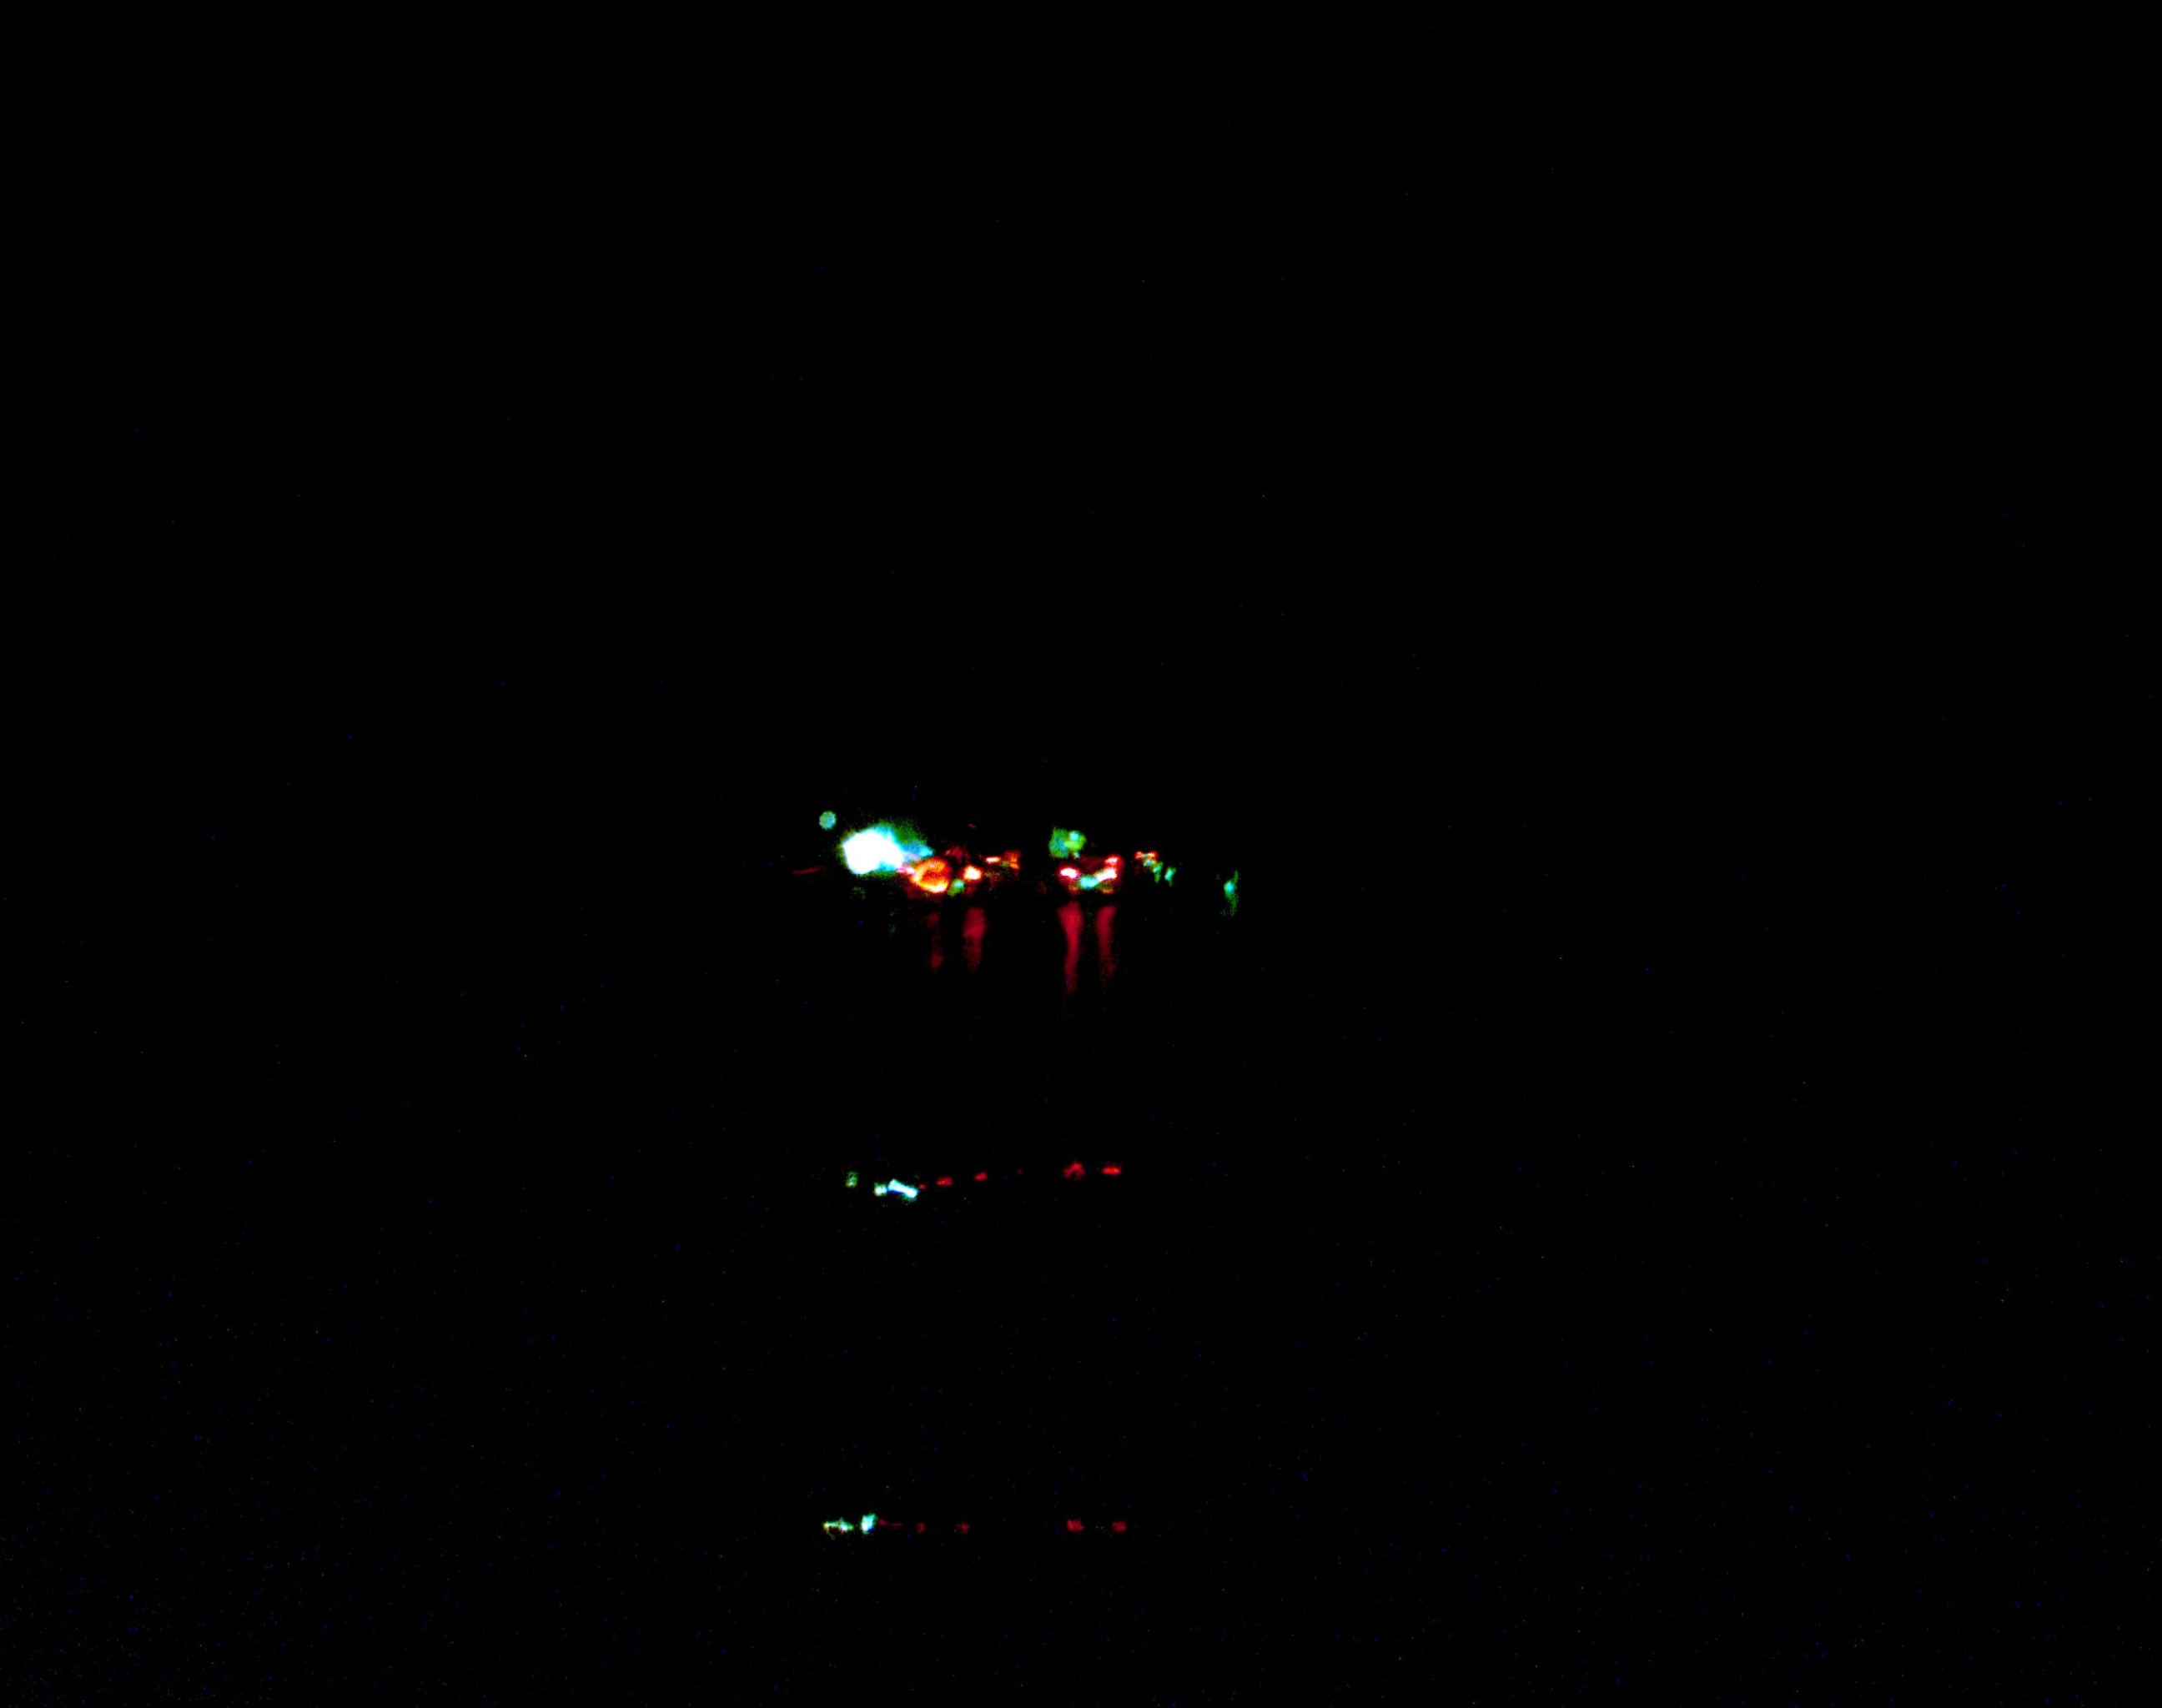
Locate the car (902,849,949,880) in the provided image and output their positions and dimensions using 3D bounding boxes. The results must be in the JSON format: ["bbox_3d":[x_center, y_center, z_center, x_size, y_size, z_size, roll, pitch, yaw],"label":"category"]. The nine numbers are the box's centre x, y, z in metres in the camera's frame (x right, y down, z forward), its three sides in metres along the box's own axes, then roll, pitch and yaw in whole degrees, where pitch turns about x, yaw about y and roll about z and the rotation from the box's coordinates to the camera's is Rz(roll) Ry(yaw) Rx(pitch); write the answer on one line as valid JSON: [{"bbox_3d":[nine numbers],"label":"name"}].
[{"bbox_3d":[-8.004,0.512,42.354,1.764,1.517,4.909,0,0,-3],"label":"car"}]

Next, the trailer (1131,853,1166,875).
[{"bbox_3d":[6.871,0.995,81.771,2.064,2.014,10.684,0,-1,13],"label":"trailer"}]

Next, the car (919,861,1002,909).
[{"bbox_3d":[-3.697,0.930,25.709,1.955,1.380,4.049,1,-1,0],"label":"car"}]

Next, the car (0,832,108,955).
[{"bbox_3d":[-18.778,0.635,12.436,1.987,2.014,4.810,0,-1,1],"label":"car"}]
